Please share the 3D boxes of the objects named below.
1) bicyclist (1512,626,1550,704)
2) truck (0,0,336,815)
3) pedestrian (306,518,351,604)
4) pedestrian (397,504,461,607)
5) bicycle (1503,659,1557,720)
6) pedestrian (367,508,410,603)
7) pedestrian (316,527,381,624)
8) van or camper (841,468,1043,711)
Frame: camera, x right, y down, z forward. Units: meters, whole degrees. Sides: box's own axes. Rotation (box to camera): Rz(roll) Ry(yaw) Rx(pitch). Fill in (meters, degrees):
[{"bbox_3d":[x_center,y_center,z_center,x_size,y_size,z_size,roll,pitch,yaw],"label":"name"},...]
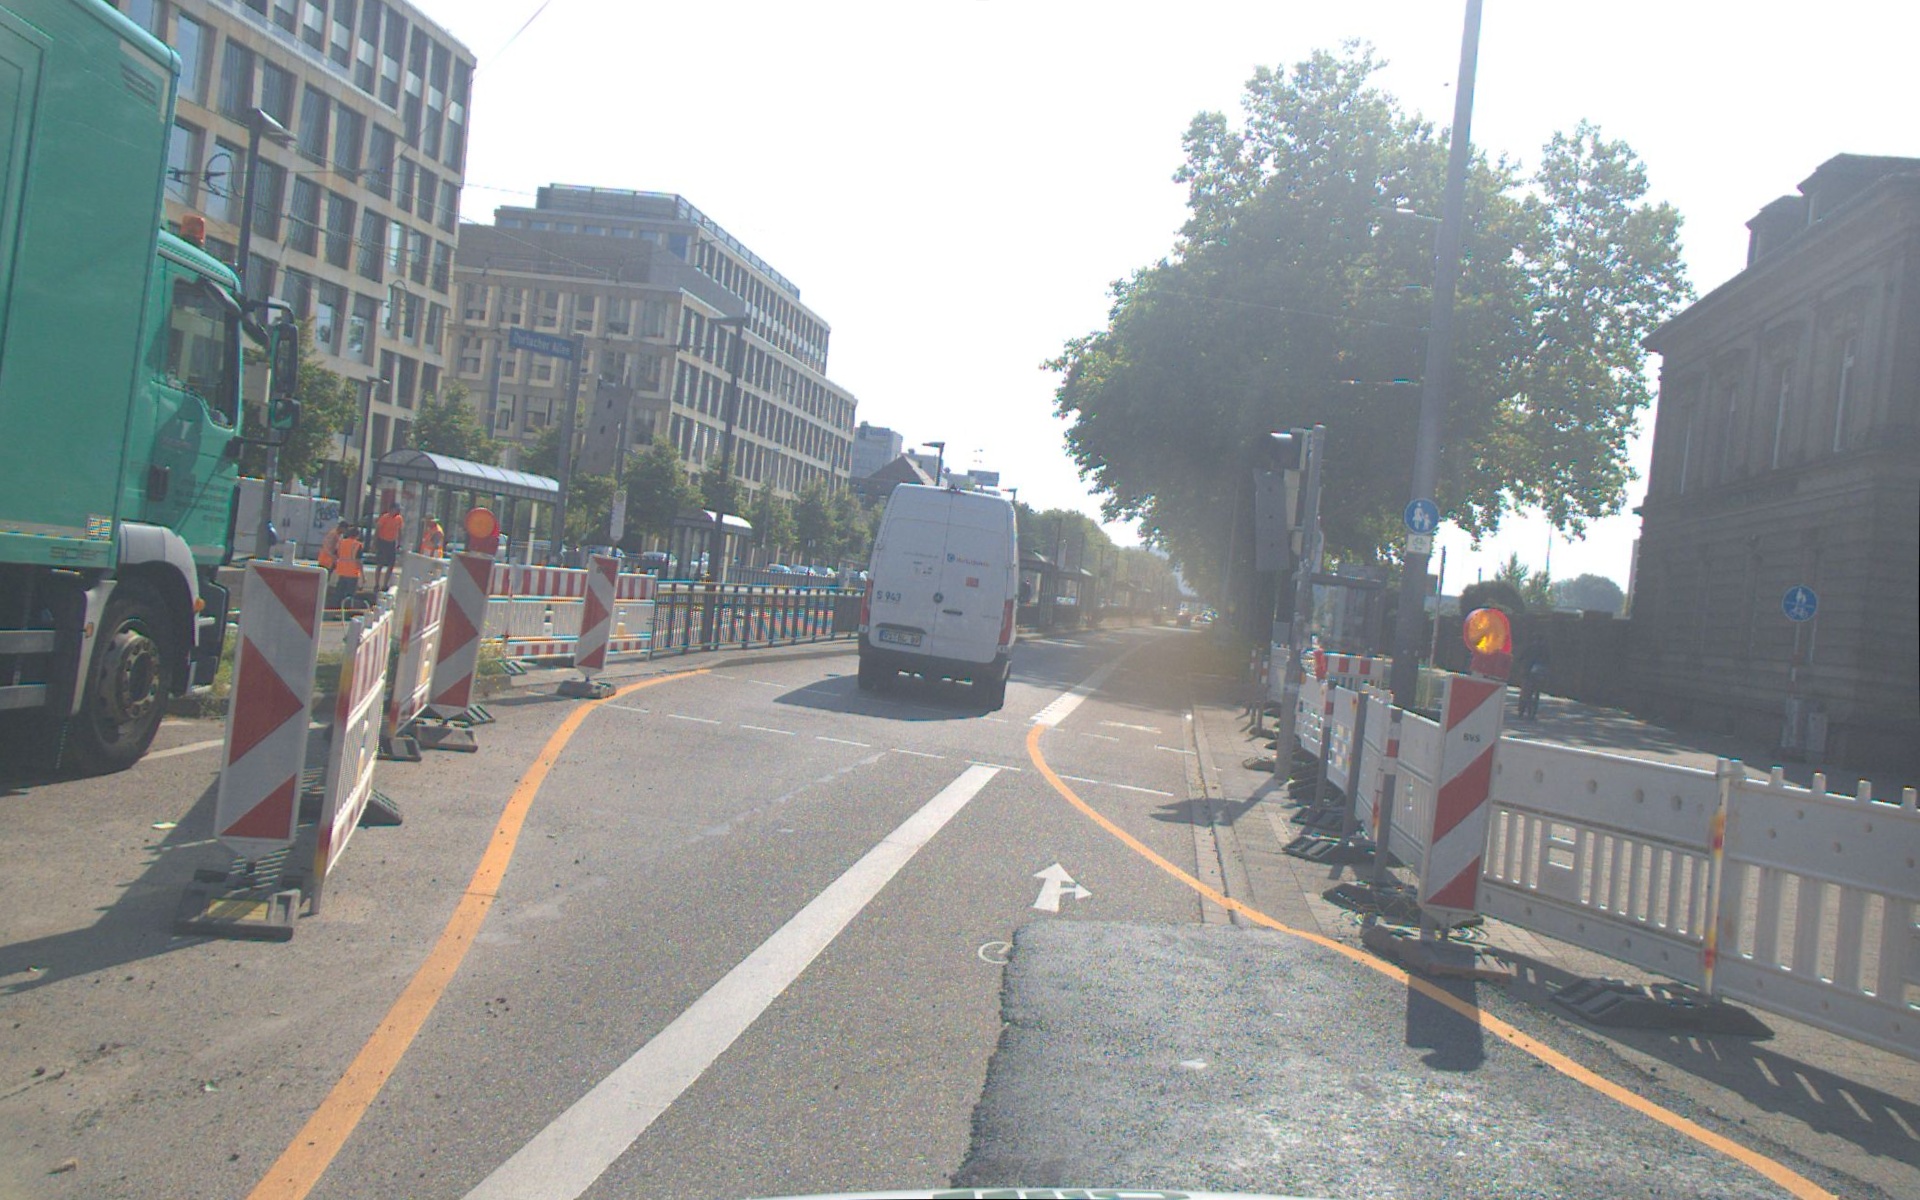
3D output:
[{"bbox_3d":[11.943,1.356,34.597,0.459,1.565,0.596,6,0,3],"label":"bicyclist"},{"bbox_3d":[-5.258,-1.188,5.995,2.739,3.977,8.414,8,1,-3],"label":"truck"},{"bbox_3d":[-12.185,-0.758,31.908,0.629,1.580,0.623,5,1,-18],"label":"pedestrian"},{"bbox_3d":[-10.654,-0.886,33.171,0.709,1.984,0.788,6,1,23],"label":"pedestrian"},{"bbox_3d":[11.899,1.859,34.547,0.481,1.107,1.858,6,1,3],"label":"bicycle"},{"bbox_3d":[-11.468,-0.897,33.207,0.616,1.846,0.636,5,1,-24],"label":"pedestrian"},{"bbox_3d":[-11.240,-0.443,30.416,0.657,1.691,0.767,6,1,42],"label":"pedestrian"},{"bbox_3d":[-0.095,-0.134,22.959,2.073,2.726,5.253,7,0,4],"label":"van or camper"}]
